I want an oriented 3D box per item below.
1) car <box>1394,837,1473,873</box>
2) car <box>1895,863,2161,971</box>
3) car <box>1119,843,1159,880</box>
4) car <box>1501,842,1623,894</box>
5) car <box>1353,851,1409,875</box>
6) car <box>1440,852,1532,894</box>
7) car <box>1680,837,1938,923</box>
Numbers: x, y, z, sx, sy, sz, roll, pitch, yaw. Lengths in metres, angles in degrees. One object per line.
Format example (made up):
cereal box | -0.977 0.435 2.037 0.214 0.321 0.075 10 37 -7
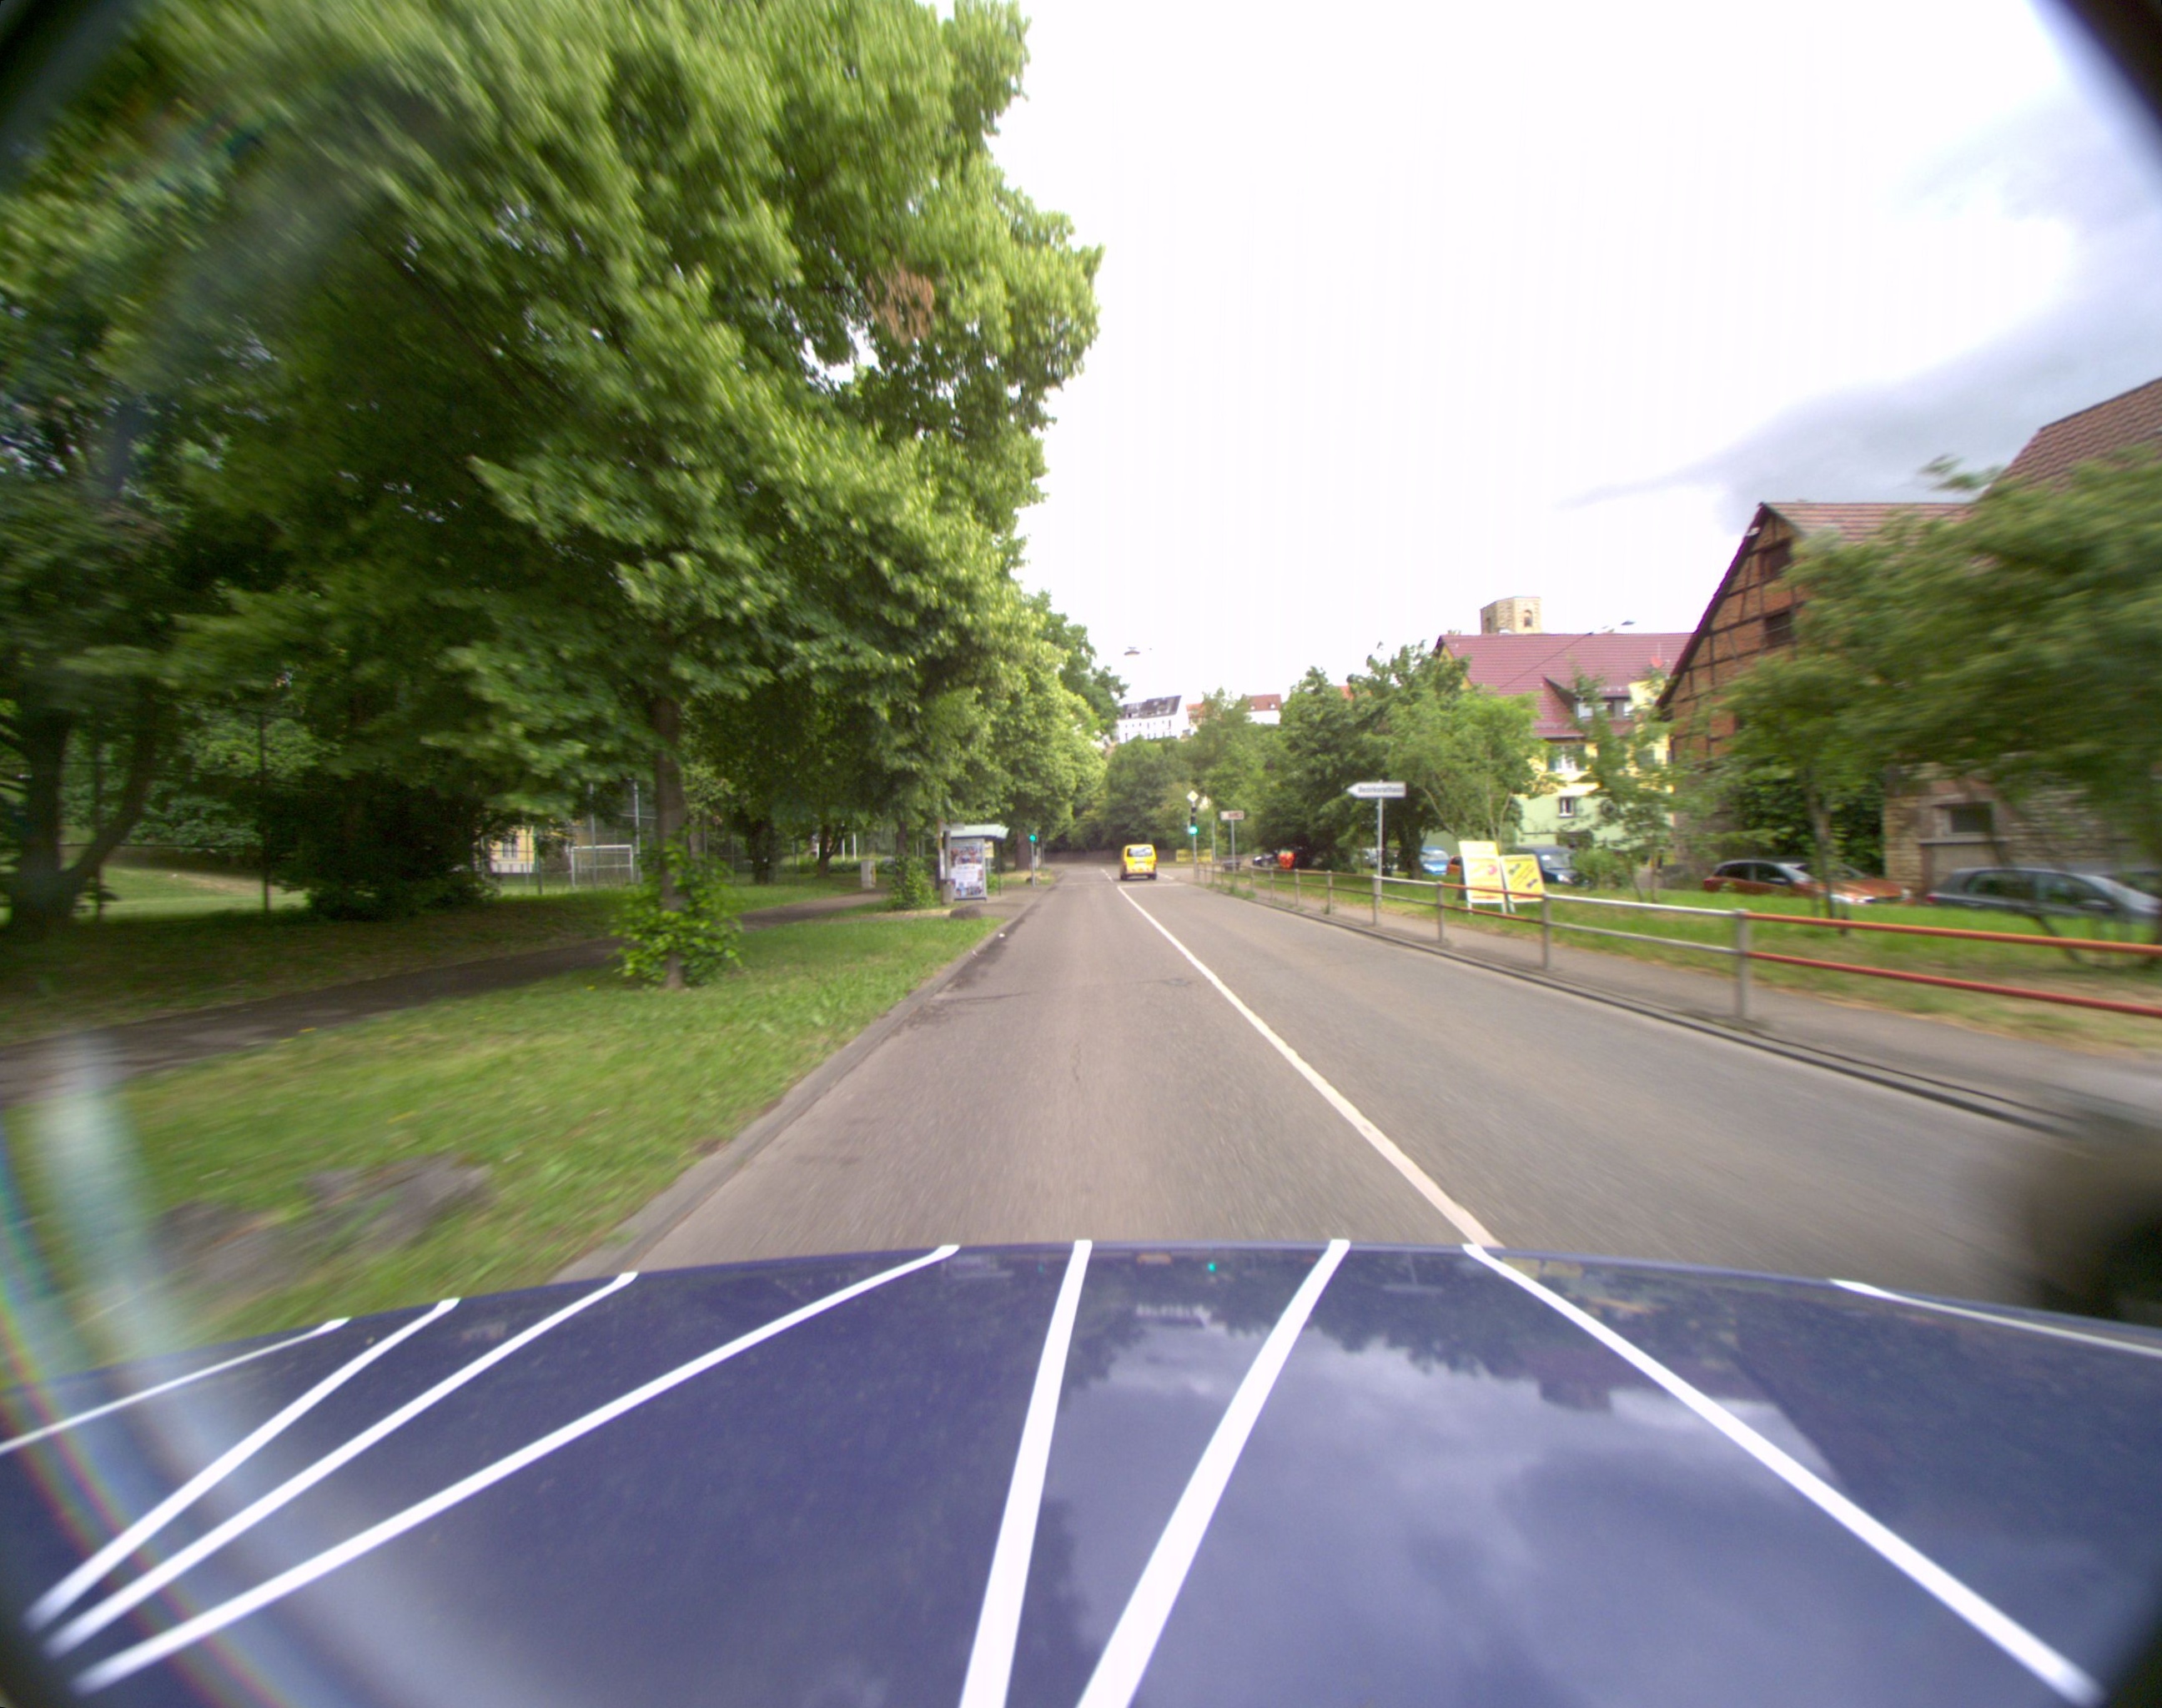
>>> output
car | 17.187 0.031 37.305 1.998 1.608 4.448 -1 1 3
car | 14.812 0.820 11.008 1.997 1.269 4.002 -1 0 6
car | 3.267 0.394 43.495 1.850 1.919 4.768 -2 1 0
car | 16.245 0.426 25.927 1.815 1.608 4.001 0 1 3
car | 17.490 0.496 44.501 1.649 1.337 4.152 -1 0 0
car | 16.905 0.738 31.946 1.952 1.608 4.001 0 1 3
car | 15.228 0.474 16.256 1.815 1.608 4.001 0 1 3
